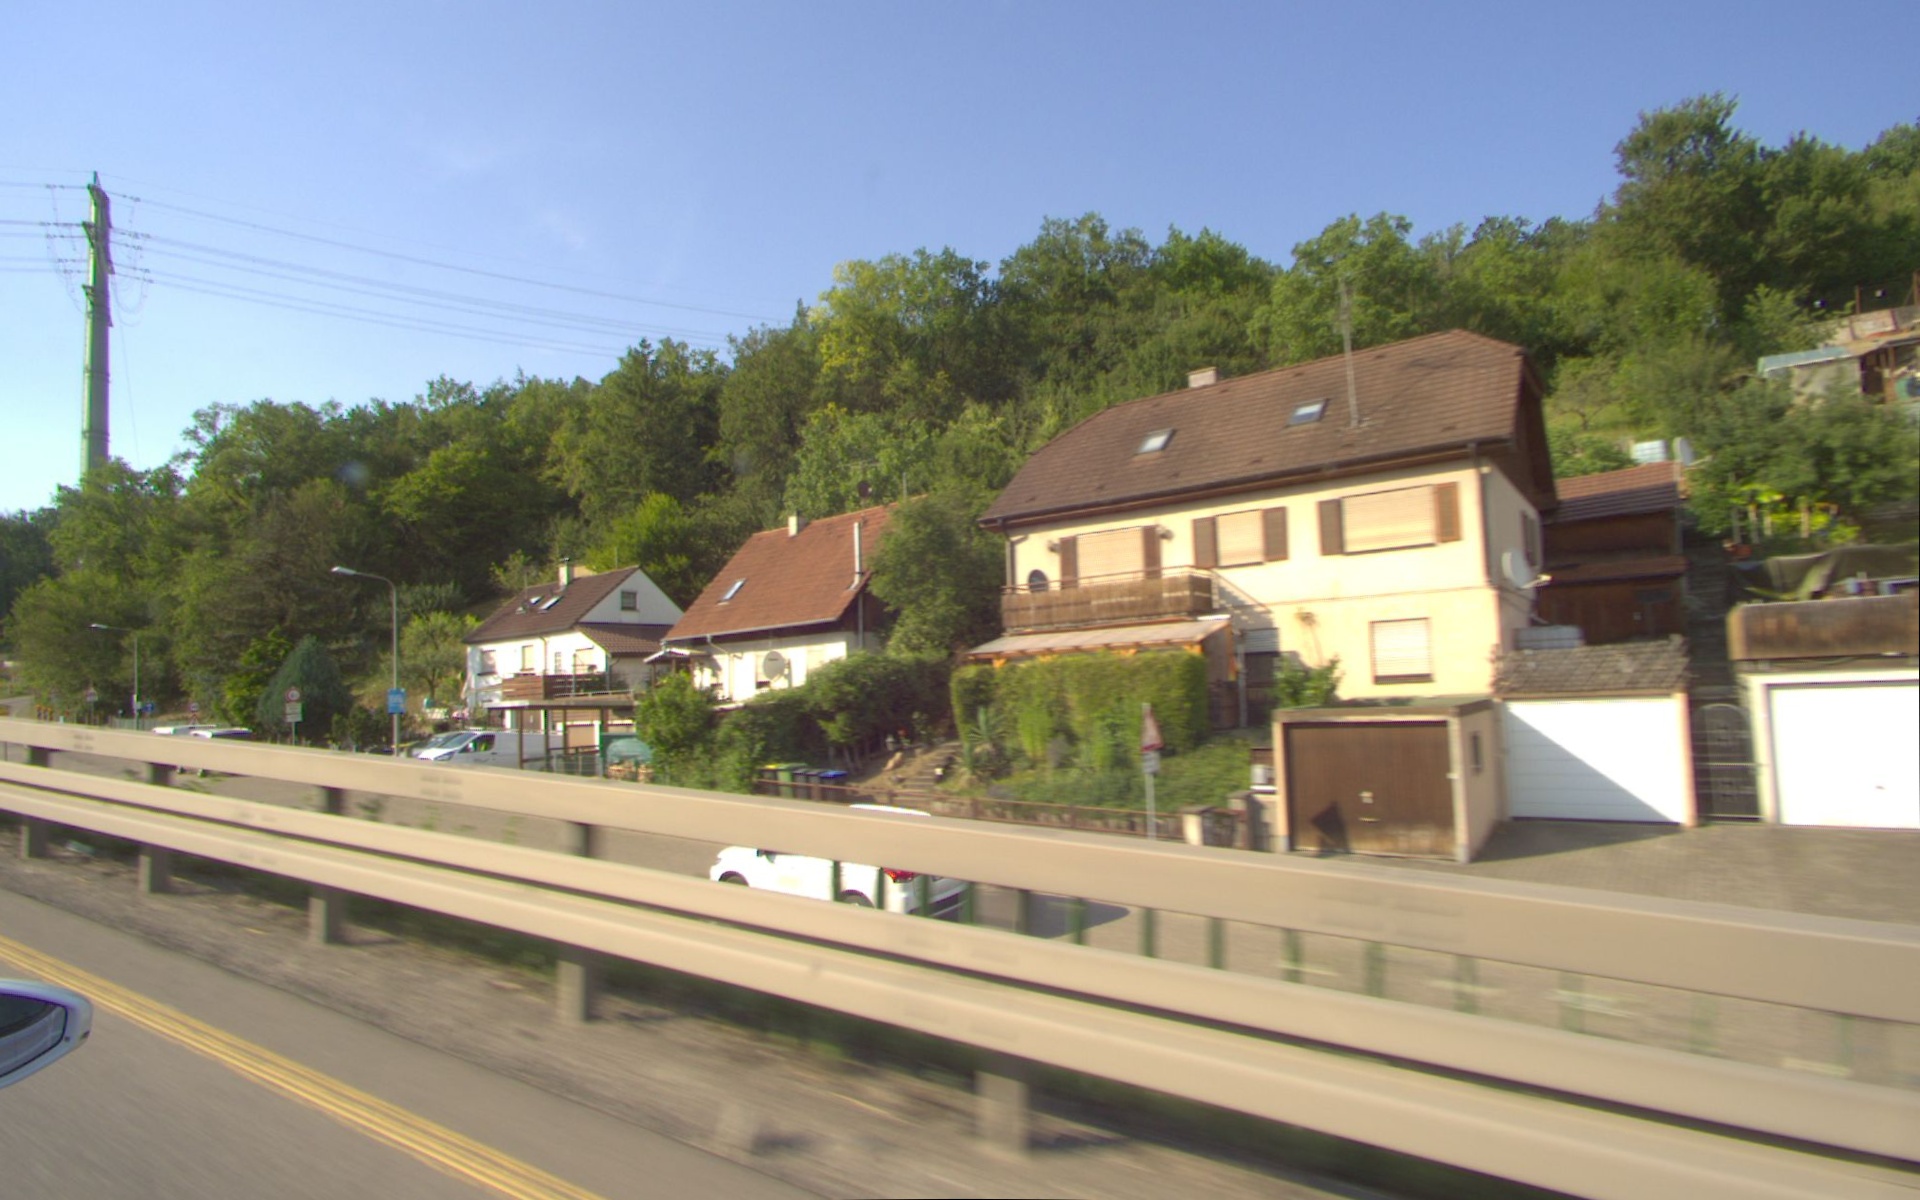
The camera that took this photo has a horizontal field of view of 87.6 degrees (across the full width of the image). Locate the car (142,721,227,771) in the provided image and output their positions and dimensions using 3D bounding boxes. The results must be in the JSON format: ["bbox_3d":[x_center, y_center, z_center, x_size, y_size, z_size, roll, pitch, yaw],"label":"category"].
[{"bbox_3d":[-36.078,6.731,46.540,4.990,2.011,1.856,-4,-3,37],"label":"car"}]

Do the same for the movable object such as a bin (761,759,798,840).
[{"bbox_3d":[-4.192,4.642,23.303,0.411,1.787,0.528,-4,-12,41],"label":"movable object such as a bin"}]

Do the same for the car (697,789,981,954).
[{"bbox_3d":[-1.953,4.008,15.382,4.416,1.682,1.662,-4,-3,37],"label":"car"}]

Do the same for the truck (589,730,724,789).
[{"bbox_3d":[-9.511,5.024,31.731,3.928,1.756,2.003,2,-8,-14],"label":"truck"}]

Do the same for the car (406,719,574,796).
[{"bbox_3d":[-17.490,5.786,37.528,1.974,2.291,5.452,-3,-4,36],"label":"car"}]

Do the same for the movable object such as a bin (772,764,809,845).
[{"bbox_3d":[-3.887,4.701,23.000,0.404,1.787,0.534,-4,-12,41],"label":"movable object such as a bin"}]

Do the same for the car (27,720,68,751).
[{"bbox_3d":[-55.916,8.287,61.335,4.222,1.479,1.517,-2,-2,43],"label":"car"}]

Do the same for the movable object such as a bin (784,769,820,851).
[{"bbox_3d":[-3.577,4.762,22.709,0.409,1.787,0.488,-4,-12,41],"label":"movable object such as a bin"}]

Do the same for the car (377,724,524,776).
[{"bbox_3d":[-20.279,5.939,40.066,1.694,1.575,5.076,-3,-4,36],"label":"car"}]

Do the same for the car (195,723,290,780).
[{"bbox_3d":[-29.501,6.138,41.103,4.808,1.941,1.987,-4,-3,39],"label":"car"}]

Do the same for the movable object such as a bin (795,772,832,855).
[{"bbox_3d":[-3.274,4.775,22.415,0.409,1.787,0.488,-4,-12,41],"label":"movable object such as a bin"}]

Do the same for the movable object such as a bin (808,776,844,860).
[{"bbox_3d":[-2.959,4.810,22.128,0.409,1.787,0.488,-4,-12,41],"label":"movable object such as a bin"}]
